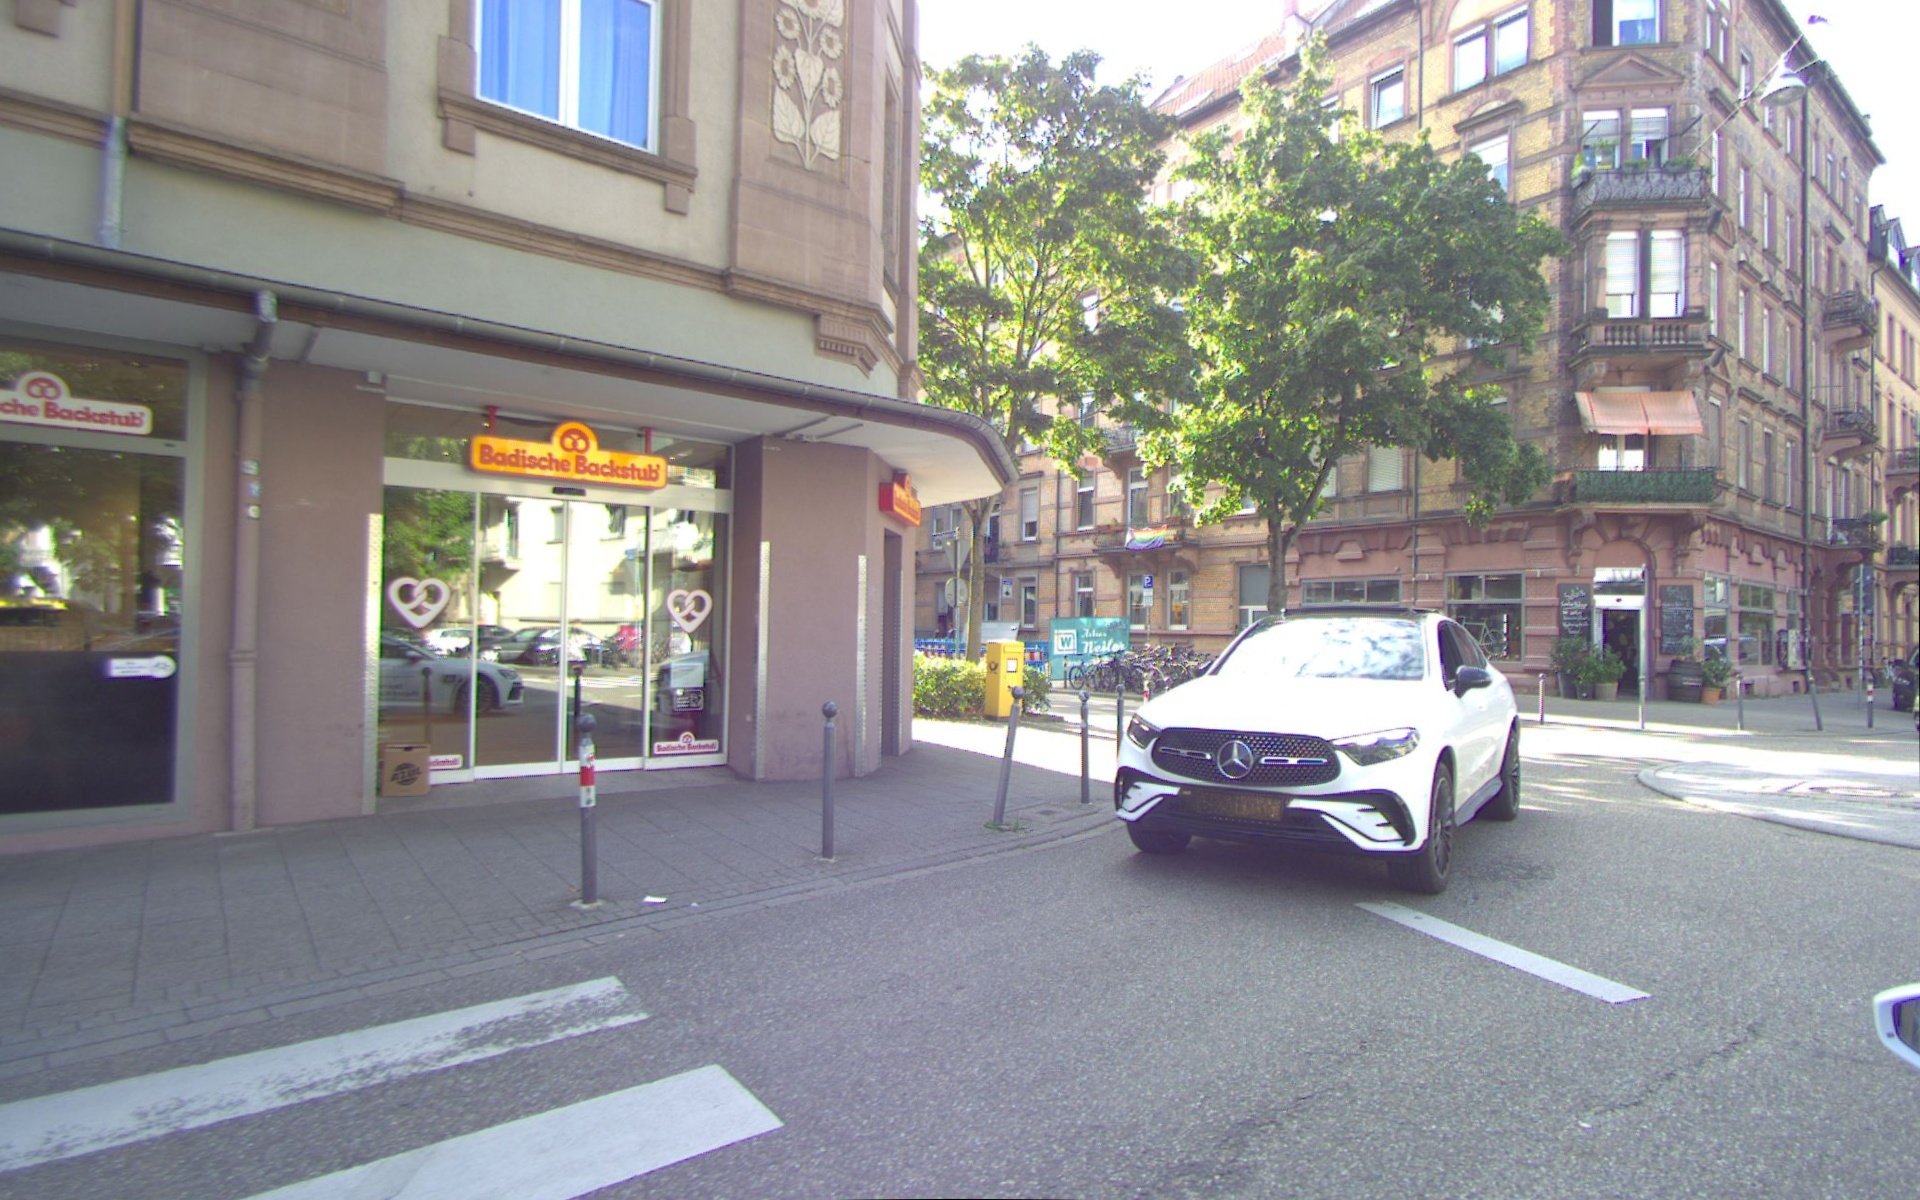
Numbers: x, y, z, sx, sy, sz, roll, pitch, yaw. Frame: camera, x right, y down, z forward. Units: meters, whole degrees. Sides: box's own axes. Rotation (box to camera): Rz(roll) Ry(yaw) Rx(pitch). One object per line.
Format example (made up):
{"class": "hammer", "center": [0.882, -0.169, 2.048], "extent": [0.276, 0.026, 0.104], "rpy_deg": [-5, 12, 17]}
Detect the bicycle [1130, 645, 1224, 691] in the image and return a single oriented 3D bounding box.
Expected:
{"class": "bicycle", "center": [6.196, 1.929, 28.894], "extent": [0.628, 1.213, 2.871], "rpy_deg": [2, -3, -41]}

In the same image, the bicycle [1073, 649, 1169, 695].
{"class": "bicycle", "center": [4.370, 1.933, 27.448], "extent": [0.628, 1.138, 2.871], "rpy_deg": [2, -3, -41]}

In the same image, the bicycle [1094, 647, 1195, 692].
{"class": "bicycle", "center": [5.078, 1.902, 27.873], "extent": [0.628, 1.138, 3.069], "rpy_deg": [2, -3, -41]}

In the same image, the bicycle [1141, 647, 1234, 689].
{"class": "bicycle", "center": [6.608, 1.970, 29.351], "extent": [0.628, 1.138, 2.871], "rpy_deg": [2, -3, -41]}

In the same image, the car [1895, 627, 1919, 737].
{"class": "car", "center": [18.105, 1.386, 17.137], "extent": [4.678, 1.814, 1.785], "rpy_deg": [2, -3, -29]}

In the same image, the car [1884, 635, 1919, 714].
{"class": "car", "center": [23.994, 1.754, 24.135], "extent": [4.400, 1.748, 1.771], "rpy_deg": [0, 0, -36]}

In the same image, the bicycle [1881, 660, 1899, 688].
{"class": "bicycle", "center": [33.666, 2.679, 36.349], "extent": [1.703, 0.959, 0.356], "rpy_deg": [2, -1, -43]}

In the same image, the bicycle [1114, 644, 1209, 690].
{"class": "bicycle", "center": [5.649, 1.878, 28.410], "extent": [0.628, 1.206, 2.871], "rpy_deg": [2, -3, -41]}

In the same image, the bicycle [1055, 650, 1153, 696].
{"class": "bicycle", "center": [3.834, 1.928, 27.035], "extent": [0.720, 1.138, 2.871], "rpy_deg": [2, -3, -41]}

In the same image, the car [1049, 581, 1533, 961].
{"class": "car", "center": [2.695, 0.865, 7.168], "extent": [1.917, 1.744, 4.833], "rpy_deg": [-3, -3, 35]}
